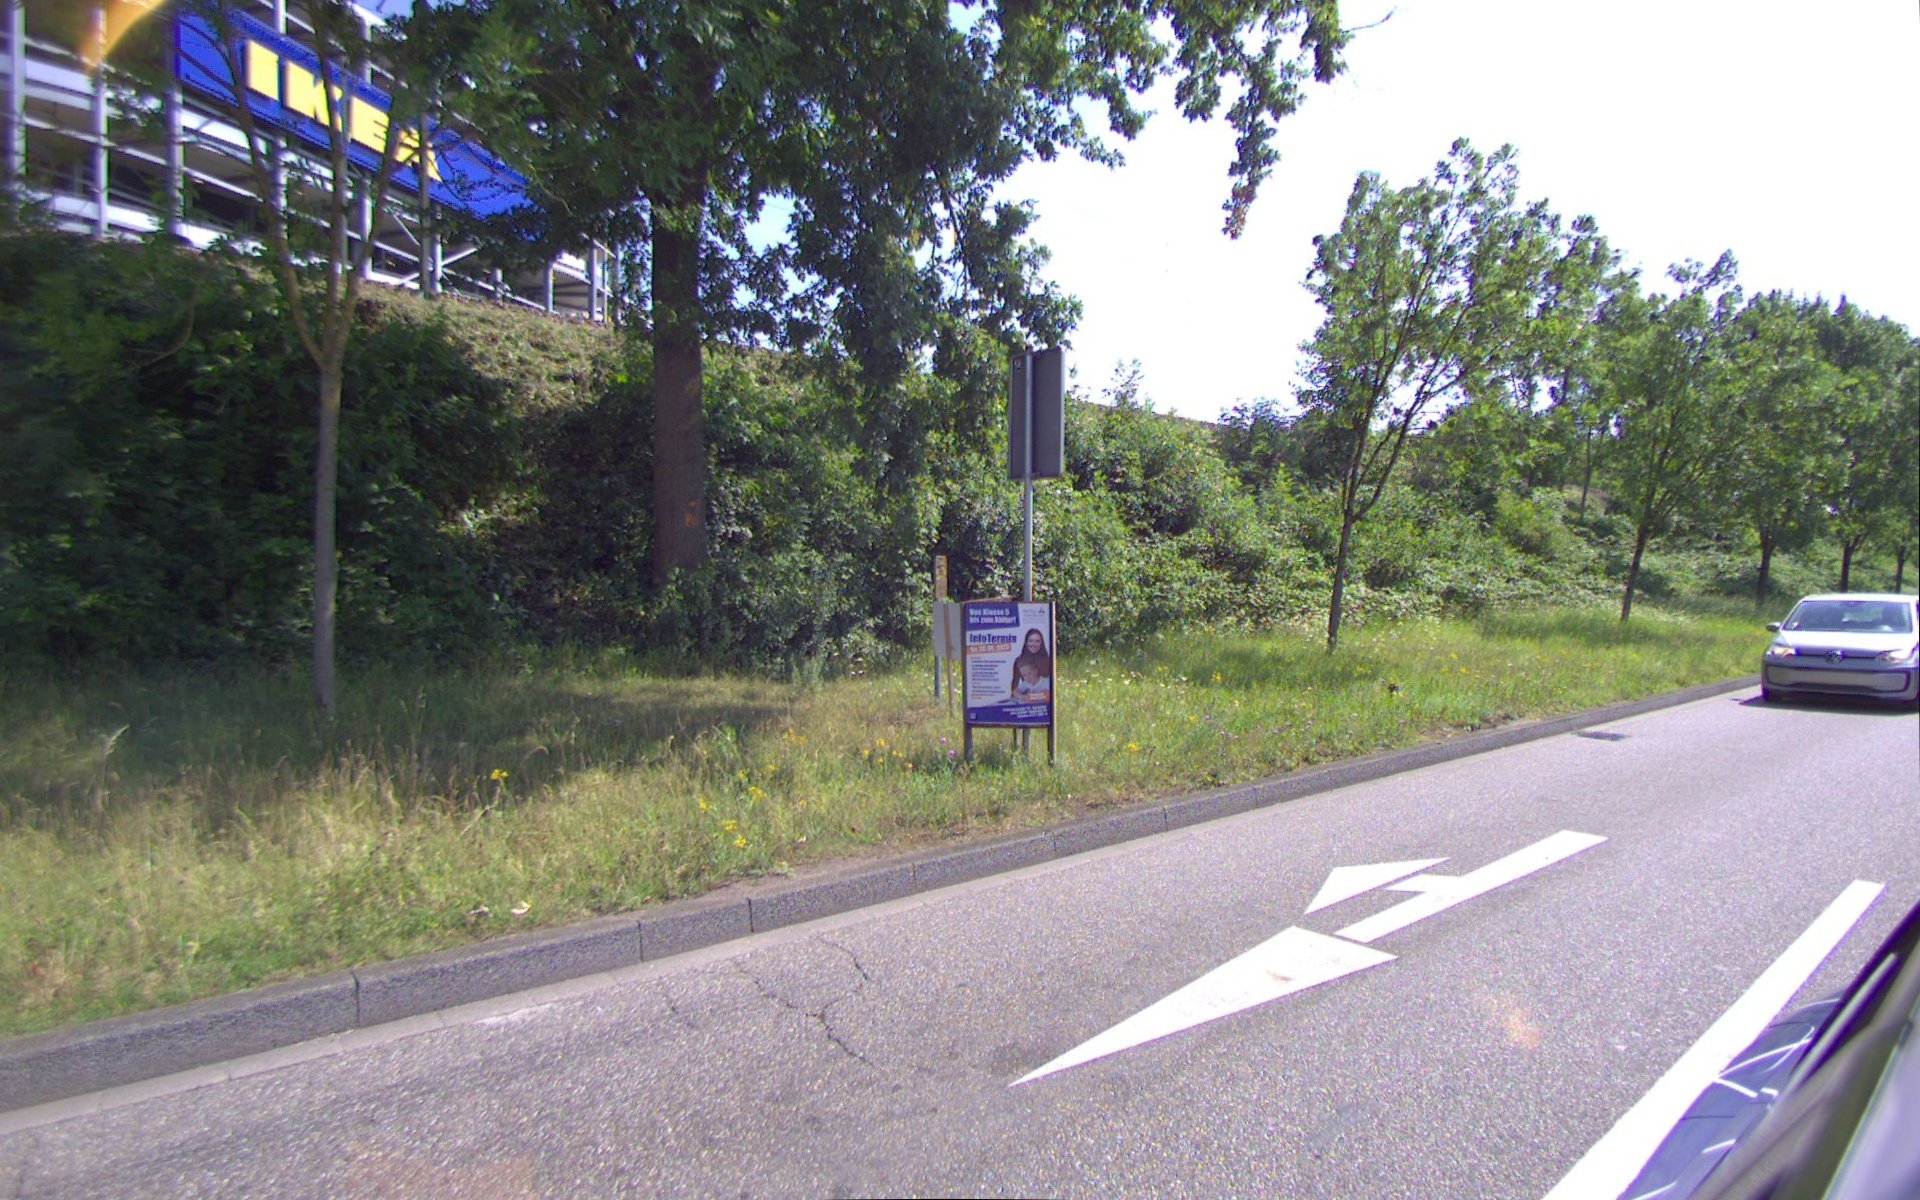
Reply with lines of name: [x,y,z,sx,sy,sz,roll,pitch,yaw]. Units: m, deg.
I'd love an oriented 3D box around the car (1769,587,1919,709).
car: [12.425,0.549,13.830,3.618,1.455,1.702,-1,1,-44]
